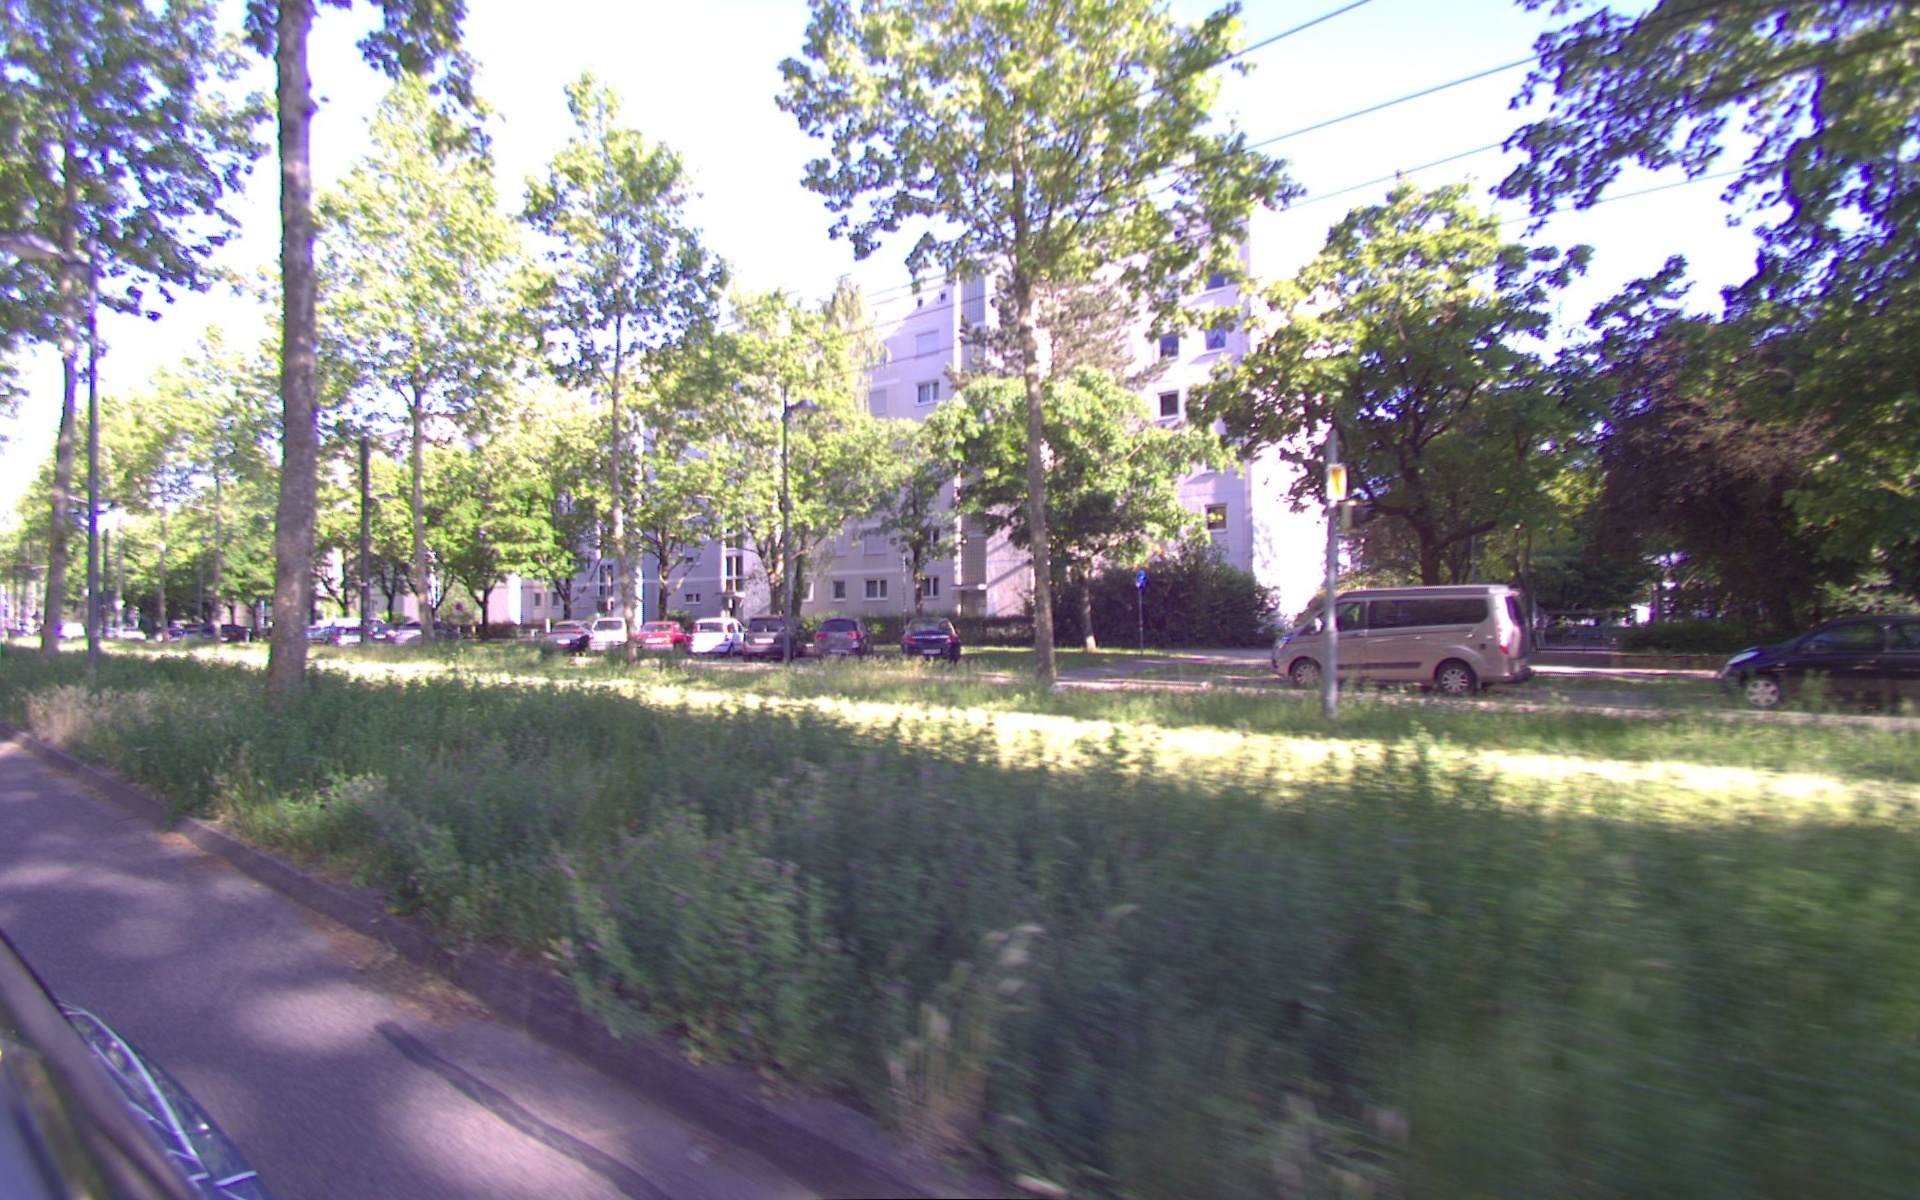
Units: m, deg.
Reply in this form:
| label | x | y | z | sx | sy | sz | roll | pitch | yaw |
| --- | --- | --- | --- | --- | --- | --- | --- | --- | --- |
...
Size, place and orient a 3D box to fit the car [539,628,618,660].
| label | x | y | z | sx | sy | sz | roll | pitch | yaw |
| --- | --- | --- | --- | --- | --- | --- | --- | --- | --- |
| car | -17.204 | 1.957 | 45.866 | 1.773 | 1.348 | 4.126 | 0 | -2 | 5 |

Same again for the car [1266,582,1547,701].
| label | x | y | z | sx | sy | sz | roll | pitch | yaw |
| --- | --- | --- | --- | --- | --- | --- | --- | --- | --- |
| car | 8.898 | 0.786 | 20.514 | 4.914 | 2.109 | 1.628 | -2 | 1 | 43 |

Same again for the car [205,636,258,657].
| label | x | y | z | sx | sy | sz | roll | pitch | yaw |
| --- | --- | --- | --- | --- | --- | --- | --- | --- | --- |
| car | -58.637 | 3.715 | 81.531 | 1.626 | 1.487 | 4.090 | -5 | -1 | -6 |

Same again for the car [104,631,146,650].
| label | x | y | z | sx | sy | sz | roll | pitch | yaw |
| --- | --- | --- | --- | --- | --- | --- | --- | --- | --- |
| car | -68.831 | 3.348 | 83.449 | 4.081 | 1.518 | 1.904 | -2 | -4 | 40 |

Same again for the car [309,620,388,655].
| label | x | y | z | sx | sy | sz | roll | pitch | yaw |
| --- | --- | --- | --- | --- | --- | --- | --- | --- | --- |
| car | -37.838 | 2.317 | 62.771 | 1.867 | 2.022 | 4.794 | -2 | -2 | 2 |

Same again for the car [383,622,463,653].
| label | x | y | z | sx | sy | sz | roll | pitch | yaw |
| --- | --- | --- | --- | --- | --- | --- | --- | --- | --- |
| car | -29.748 | 2.079 | 56.191 | 1.970 | 1.619 | 4.078 | 2 | -2 | 6 |

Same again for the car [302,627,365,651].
| label | x | y | z | sx | sy | sz | roll | pitch | yaw |
| --- | --- | --- | --- | --- | --- | --- | --- | --- | --- |
| car | -40.198 | 2.495 | 65.043 | 1.557 | 1.443 | 4.085 | 1 | -2 | -1 |

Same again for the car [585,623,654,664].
| label | x | y | z | sx | sy | sz | roll | pitch | yaw |
| --- | --- | --- | --- | --- | --- | --- | --- | --- | --- |
| car | -14.723 | 1.841 | 43.948 | 1.761 | 1.688 | 3.980 | 0 | -2 | -2 |

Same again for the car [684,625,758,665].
| label | x | y | z | sx | sy | sz | roll | pitch | yaw |
| --- | --- | --- | --- | --- | --- | --- | --- | --- | --- |
| car | -9.405 | 1.749 | 40.194 | 1.597 | 1.493 | 4.480 | 0 | -2 | 4 |

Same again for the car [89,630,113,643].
| label | x | y | z | sx | sy | sz | roll | pitch | yaw |
| --- | --- | --- | --- | --- | --- | --- | --- | --- | --- |
| car | -99.278 | 4.234 | 117.011 | 3.934 | 1.557 | 1.695 | -2 | -3 | 44 |

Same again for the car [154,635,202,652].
| label | x | y | z | sx | sy | sz | roll | pitch | yaw |
| --- | --- | --- | --- | --- | --- | --- | --- | --- | --- |
| car | -72.307 | 4.003 | 93.637 | 1.811 | 1.446 | 3.832 | 0 | -2 | -9 |

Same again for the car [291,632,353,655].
| label | x | y | z | sx | sy | sz | roll | pitch | yaw |
| --- | --- | --- | --- | --- | --- | --- | --- | --- | --- |
| car | -42.507 | 2.890 | 67.567 | 1.628 | 1.494 | 4.085 | 0 | -2 | -1 |

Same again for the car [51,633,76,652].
| label | x | y | z | sx | sy | sz | roll | pitch | yaw |
| --- | --- | --- | --- | --- | --- | --- | --- | --- | --- |
| car | -110.273 | 5.224 | 124.480 | 3.930 | 2.279 | 1.696 | -2 | -3 | 40 |

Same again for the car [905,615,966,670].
| label | x | y | z | sx | sy | sz | roll | pitch | yaw |
| --- | --- | --- | --- | --- | --- | --- | --- | --- | --- |
| car | -0.787 | 1.295 | 31.407 | 1.769 | 1.580 | 4.488 | 0 | -2 | -2 |

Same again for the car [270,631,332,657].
| label | x | y | z | sx | sy | sz | roll | pitch | yaw |
| --- | --- | --- | --- | --- | --- | --- | --- | --- | --- |
| car | -45.162 | 3.003 | 69.472 | 1.628 | 1.658 | 4.085 | -2 | -2 | -1 |

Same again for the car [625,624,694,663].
| label | x | y | z | sx | sy | sz | roll | pitch | yaw |
| --- | --- | --- | --- | --- | --- | --- | --- | --- | --- |
| car | -12.128 | 1.724 | 41.041 | 1.769 | 1.499 | 3.922 | 0 | -2 | -2 |

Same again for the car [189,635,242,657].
| label | x | y | z | sx | sy | sz | roll | pitch | yaw |
| --- | --- | --- | --- | --- | --- | --- | --- | --- | --- |
| car | -61.454 | 3.806 | 83.582 | 1.626 | 1.658 | 4.089 | -3 | -2 | -5 |

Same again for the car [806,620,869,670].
| label | x | y | z | sx | sy | sz | roll | pitch | yaw |
| --- | --- | --- | --- | --- | --- | --- | --- | --- | --- |
| car | -4.104 | 1.507 | 34.598 | 1.769 | 1.580 | 4.488 | 0 | -2 | -2 |

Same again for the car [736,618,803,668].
| label | x | y | z | sx | sy | sz | roll | pitch | yaw |
| --- | --- | --- | --- | --- | --- | --- | --- | --- | --- |
| car | -6.883 | 1.529 | 36.957 | 1.769 | 1.688 | 4.488 | 0 | -2 | -2 |

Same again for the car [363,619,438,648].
| label | x | y | z | sx | sy | sz | roll | pitch | yaw |
| --- | --- | --- | --- | --- | --- | --- | --- | --- | --- |
| car | -32.381 | 1.936 | 58.706 | 1.796 | 1.542 | 4.076 | -2 | -2 | 7 |

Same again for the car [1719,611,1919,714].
| label | x | y | z | sx | sy | sz | roll | pitch | yaw |
| --- | --- | --- | --- | --- | --- | --- | --- | --- | --- |
| car | 14.424 | 0.956 | 16.050 | 3.663 | 1.464 | 1.628 | -2 | 1 | 43 |

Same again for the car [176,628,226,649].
| label | x | y | z | sx | sy | sz | roll | pitch | yaw |
| --- | --- | --- | --- | --- | --- | --- | --- | --- | --- |
| car | -64.288 | 3.243 | 85.792 | 1.625 | 1.658 | 4.092 | 1 | -2 | -8 |
